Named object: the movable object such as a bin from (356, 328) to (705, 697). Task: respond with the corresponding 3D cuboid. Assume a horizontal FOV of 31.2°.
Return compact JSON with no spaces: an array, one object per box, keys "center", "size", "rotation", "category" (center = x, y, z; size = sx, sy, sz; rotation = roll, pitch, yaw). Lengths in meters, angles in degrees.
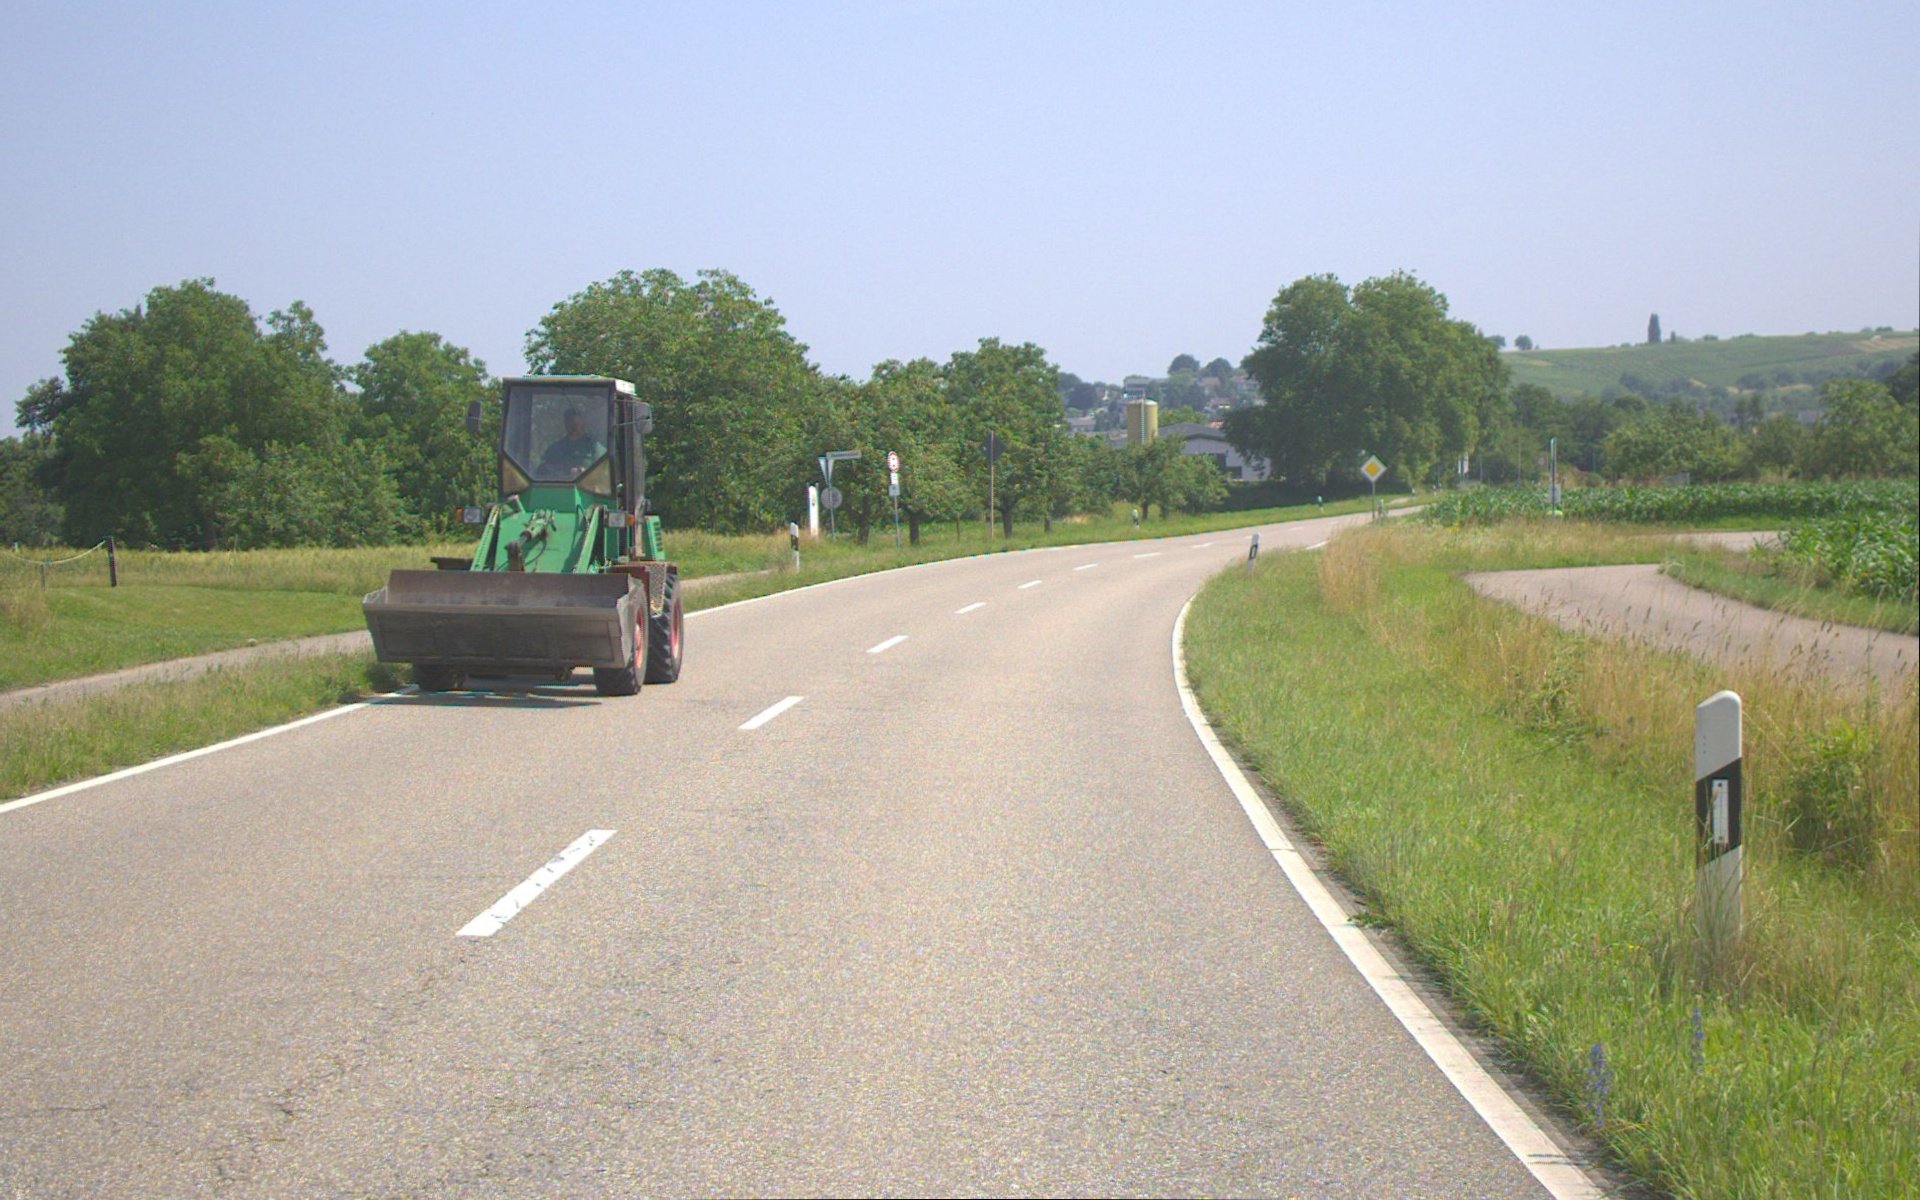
[{"center":[-3.433,-0.742,28.508],"size":[2.001,2.745,5.230],"rotation":[1,2,2],"category":"movable object such as a bin"}]
